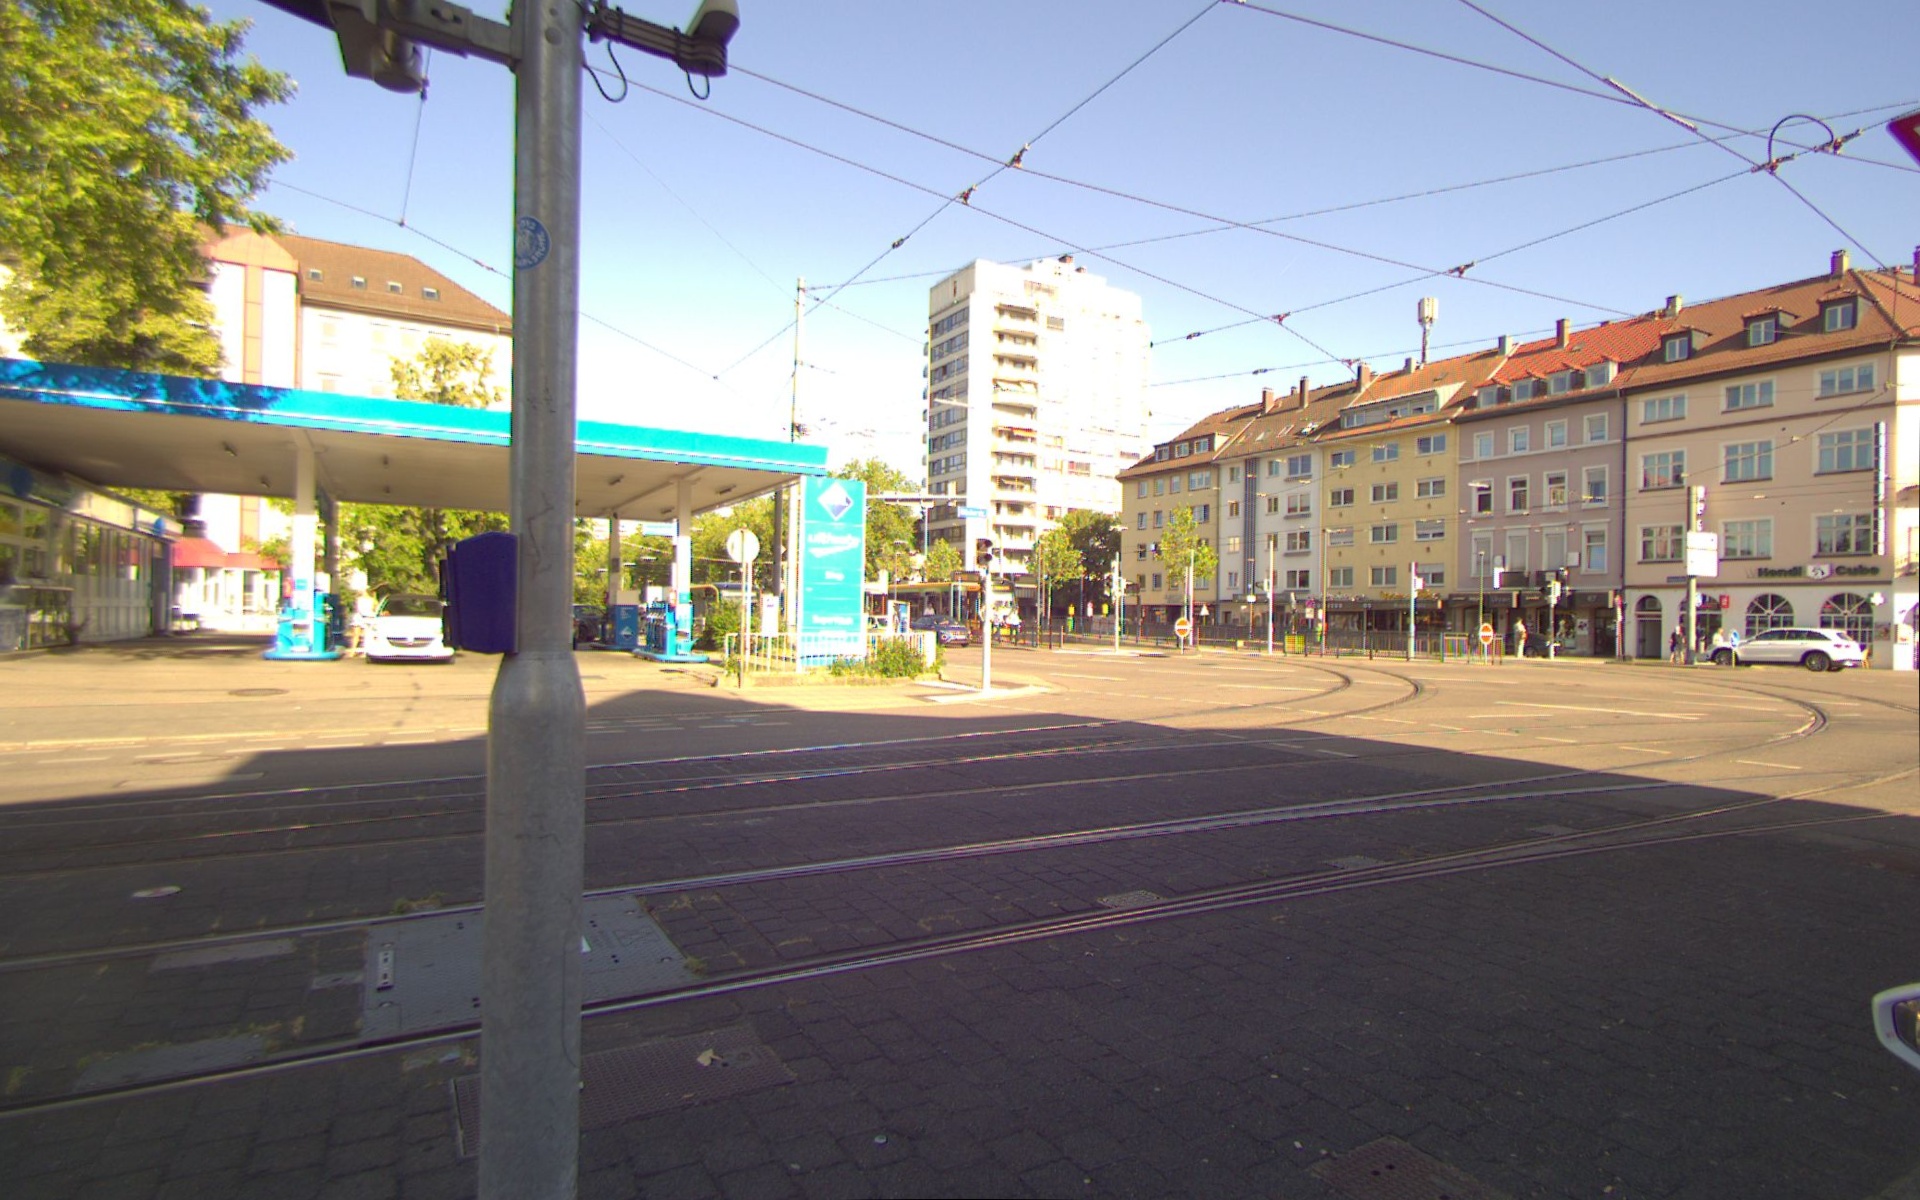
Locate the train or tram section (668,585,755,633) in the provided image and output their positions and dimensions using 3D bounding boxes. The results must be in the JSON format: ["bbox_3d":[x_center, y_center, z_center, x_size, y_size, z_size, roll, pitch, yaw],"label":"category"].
[{"bbox_3d":[-15.030,0.451,60.036,2.233,2.627,10.398,2,0,-30],"label":"train or tram section"}]

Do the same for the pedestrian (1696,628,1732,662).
[{"bbox_3d":[36.214,2.146,48.249,1.029,1.612,1.061,1,-1,-28],"label":"pedestrian"}]

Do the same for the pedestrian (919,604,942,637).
[{"bbox_3d":[-1.632,1.130,55.573,0.902,1.826,0.887,1,-1,-33],"label":"pedestrian"}]

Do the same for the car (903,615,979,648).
[{"bbox_3d":[-0.958,1.491,48.346,1.937,1.475,4.077,1,0,-30],"label":"car"}]

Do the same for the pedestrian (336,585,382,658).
[{"bbox_3d":[-13.847,0.504,23.167,0.801,1.652,0.643,1,-1,-24],"label":"pedestrian"}]

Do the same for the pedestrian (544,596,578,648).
[{"bbox_3d":[-14.233,0.776,35.829,0.888,1.826,0.901,1,-1,-39],"label":"pedestrian"}]

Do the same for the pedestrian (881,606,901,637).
[{"bbox_3d":[-4.130,1.285,60.054,0.902,1.826,0.887,1,-1,-33],"label":"pedestrian"}]

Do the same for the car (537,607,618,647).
[{"bbox_3d":[-17.203,1.211,45.380,1.960,1.685,4.001,1,-1,2],"label":"car"}]

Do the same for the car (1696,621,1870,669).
[{"bbox_3d":[31.425,1.676,38.528,1.978,1.682,4.822,1,-1,-31],"label":"car"}]

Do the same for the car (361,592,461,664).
[{"bbox_3d":[-12.271,0.605,22.431,1.773,1.461,3.968,2,-1,-30],"label":"car"}]

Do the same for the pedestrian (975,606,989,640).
[{"bbox_3d":[1.101,1.155,50.720,0.491,1.721,0.553,1,-1,-33],"label":"pedestrian"}]

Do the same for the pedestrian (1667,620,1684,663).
[{"bbox_3d":[34.211,1.983,48.019,0.498,2.040,0.507,1,-1,-27],"label":"pedestrian"}]

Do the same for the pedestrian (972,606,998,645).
[{"bbox_3d":[1.219,1.234,48.623,0.902,1.826,0.887,1,-1,-33],"label":"pedestrian"}]

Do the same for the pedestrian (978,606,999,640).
[{"bbox_3d":[1.464,1.159,51.471,0.773,1.721,0.692,1,-1,-33],"label":"pedestrian"}]

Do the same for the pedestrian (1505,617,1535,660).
[{"bbox_3d":[24.496,1.695,43.953,0.801,1.842,0.871,1,-1,-29],"label":"pedestrian"}]

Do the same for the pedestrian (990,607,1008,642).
[{"bbox_3d":[1.902,1.189,49.271,0.549,1.721,0.740,1,-1,-33],"label":"pedestrian"}]

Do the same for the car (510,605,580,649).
[{"bbox_3d":[-13.501,0.863,32.575,1.752,1.332,3.520,1,-1,-28],"label":"car"}]

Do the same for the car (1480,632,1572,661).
[{"bbox_3d":[30.776,2.496,54.713,1.980,1.483,3.962,1,-1,-34],"label":"car"}]

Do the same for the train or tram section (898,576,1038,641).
[{"bbox_3d":[0.231,0.518,58.961,3.252,3.459,10.157,1,-1,-33],"label":"train or tram section"}]

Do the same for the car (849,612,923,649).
[{"bbox_3d":[-3.506,1.393,46.804,1.976,1.615,3.970,1,-1,-29],"label":"car"}]

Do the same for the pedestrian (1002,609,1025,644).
[{"bbox_3d":[2.556,1.252,47.903,0.791,1.646,0.706,1,-1,-33],"label":"pedestrian"}]

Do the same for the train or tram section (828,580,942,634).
[{"bbox_3d":[-5.250,0.521,67.579,3.252,3.335,10.157,1,-1,-33],"label":"train or tram section"}]
